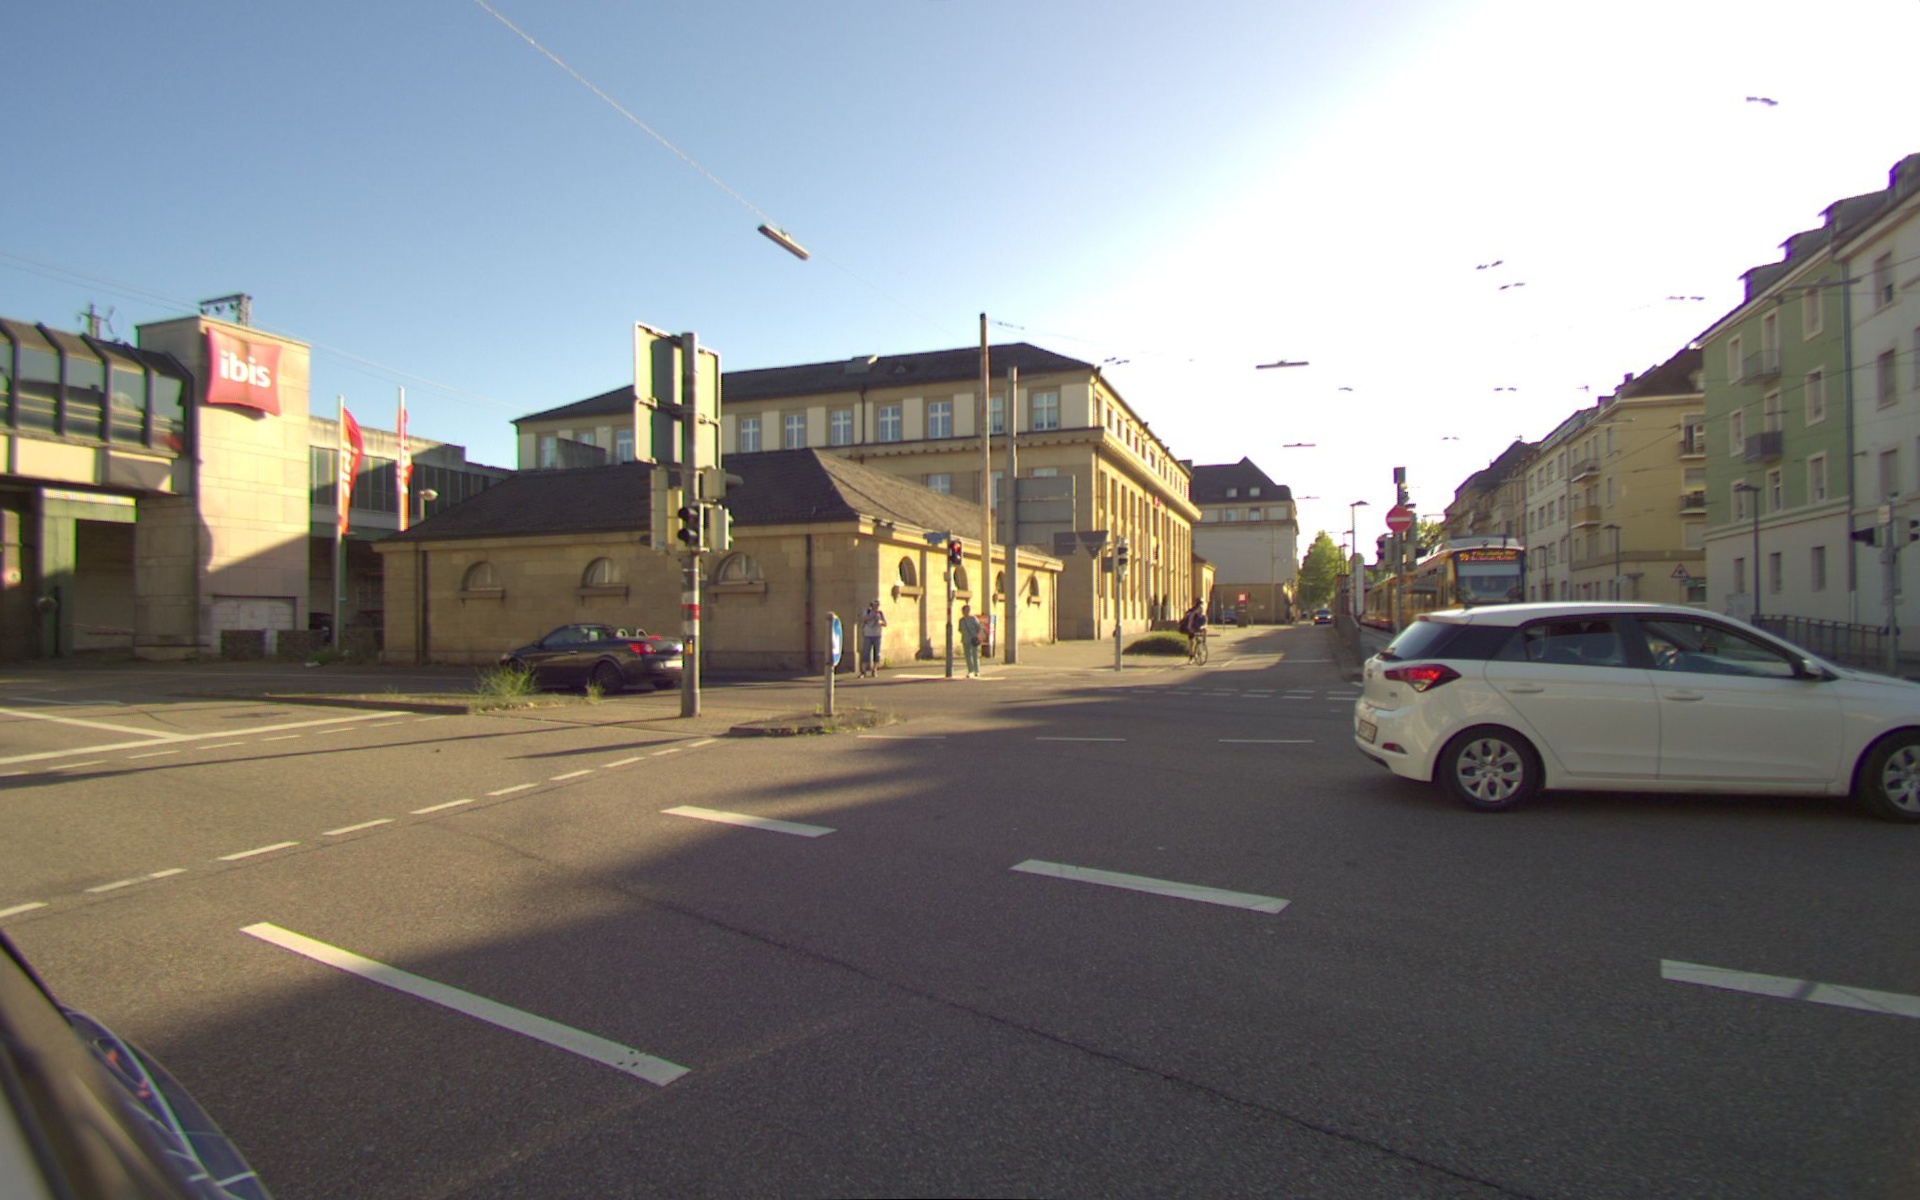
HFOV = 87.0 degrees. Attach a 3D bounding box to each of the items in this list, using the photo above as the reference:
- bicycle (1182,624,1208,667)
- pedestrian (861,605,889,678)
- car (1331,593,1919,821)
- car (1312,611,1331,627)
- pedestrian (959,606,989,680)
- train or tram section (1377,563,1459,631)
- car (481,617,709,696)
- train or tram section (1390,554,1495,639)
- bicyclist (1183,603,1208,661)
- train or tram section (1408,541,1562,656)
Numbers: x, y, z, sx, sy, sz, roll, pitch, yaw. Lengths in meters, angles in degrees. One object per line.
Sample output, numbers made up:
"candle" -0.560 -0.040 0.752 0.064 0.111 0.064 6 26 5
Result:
"bicycle" 6.817 1.296 29.280 0.679 1.145 2.064 -1 0 14
"pedestrian" -1.966 0.948 23.392 0.616 1.652 0.515 0 -1 -6
"car" 5.008 0.687 7.356 4.062 1.404 1.786 -1 -1 12
"car" 43.209 2.229 120.954 1.986 1.829 4.341 -1 -1 21
"pedestrian" 0.307 0.969 23.085 0.616 1.652 0.490 0 -1 -6
"train or tram section" 25.050 -0.162 55.875 3.142 3.382 10.779 -1 0 20
"car" -7.283 1.077 20.145 4.303 1.436 1.814 -1 -1 26
"train or tram section" 21.553 -0.121 45.830 3.142 3.382 10.611 -1 0 20
"bicyclist" 6.816 0.914 29.253 0.671 1.652 0.935 -1 0 15
"train or tram section" 17.871 0.041 35.339 3.144 3.346 11.740 -1 -1 20
